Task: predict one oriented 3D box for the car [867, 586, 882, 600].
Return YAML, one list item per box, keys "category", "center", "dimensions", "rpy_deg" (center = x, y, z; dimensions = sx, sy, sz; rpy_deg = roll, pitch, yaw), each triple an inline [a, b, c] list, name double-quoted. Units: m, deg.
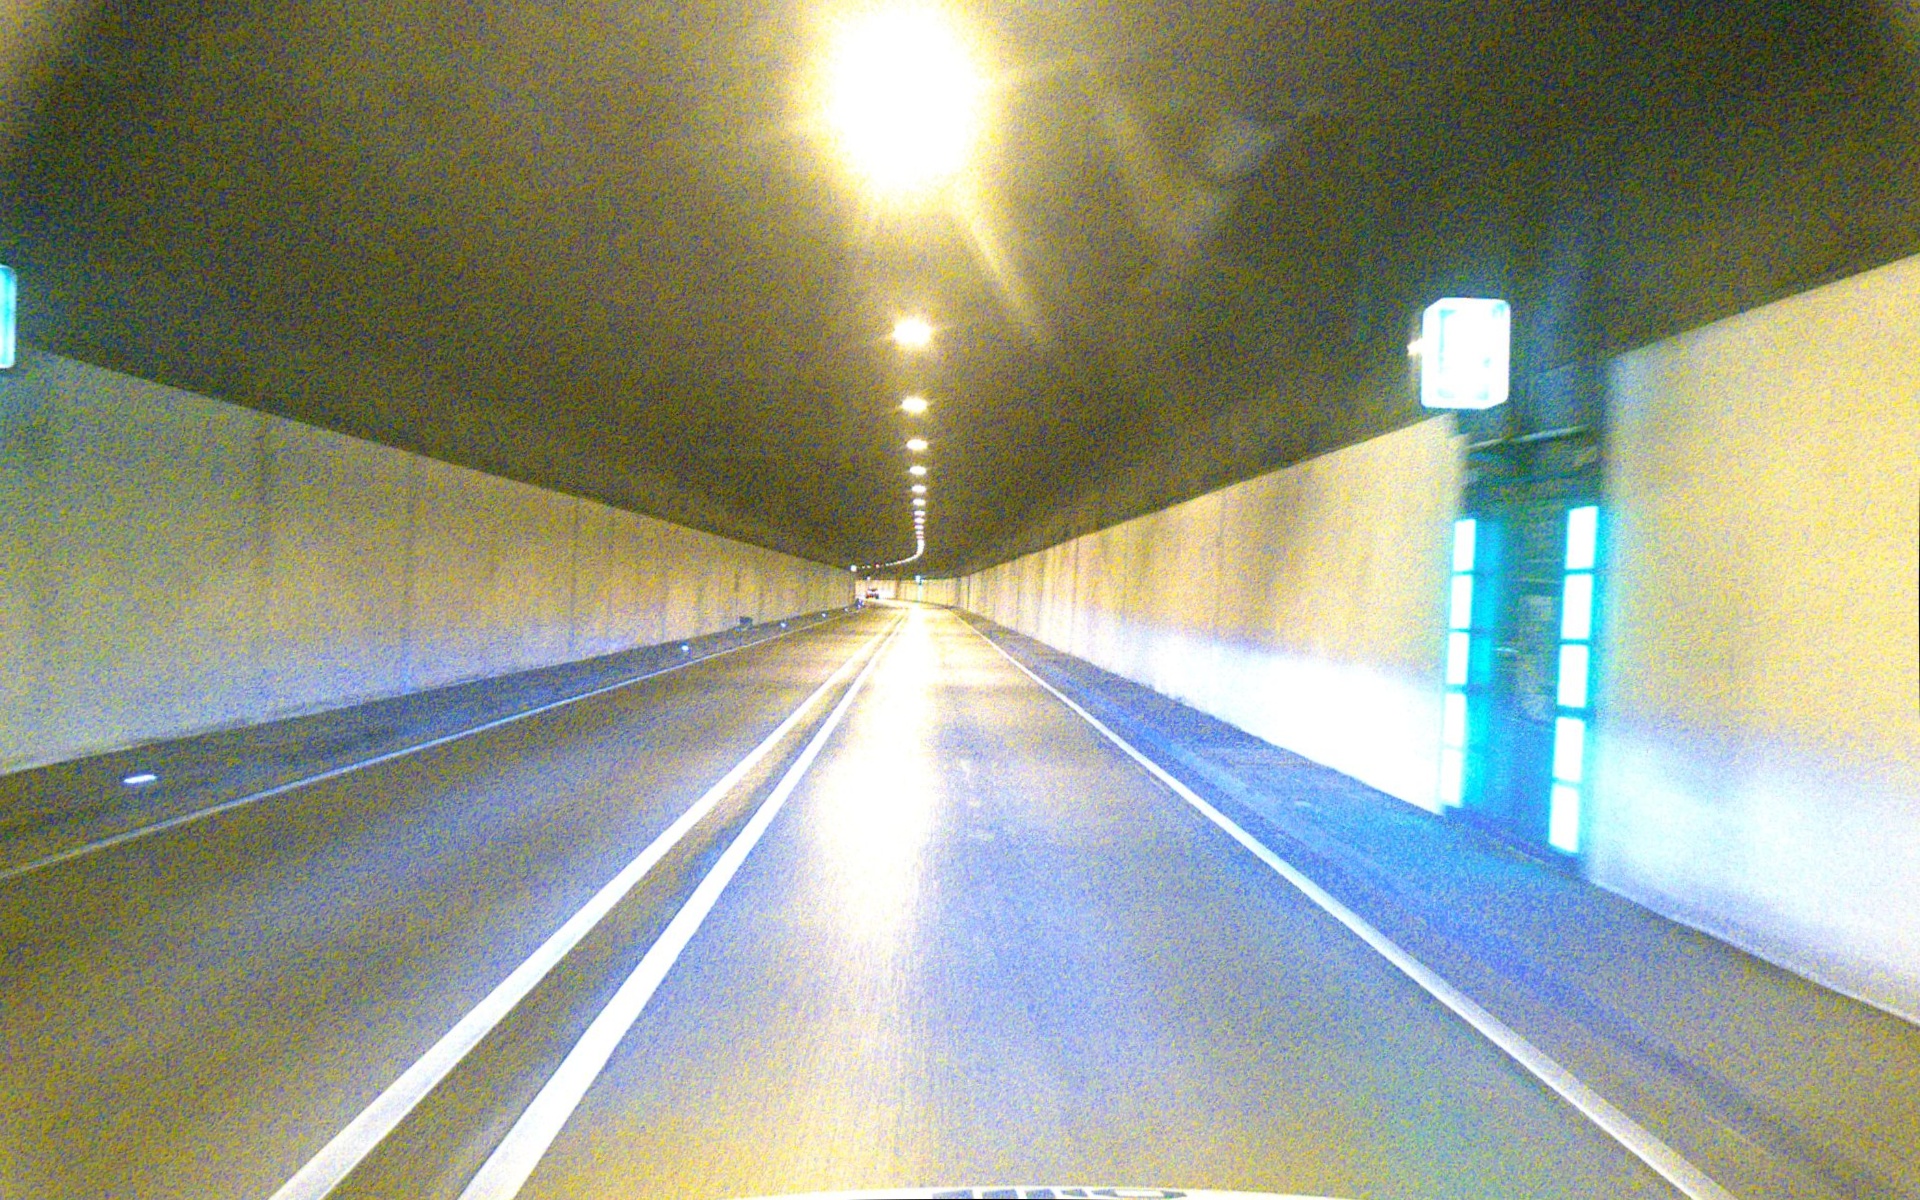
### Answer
- category: "car"
  center: [-12.818, -1.005, 247.402]
  dimensions: [1.929, 1.973, 4.605]
  rpy_deg: [1, 0, -7]
